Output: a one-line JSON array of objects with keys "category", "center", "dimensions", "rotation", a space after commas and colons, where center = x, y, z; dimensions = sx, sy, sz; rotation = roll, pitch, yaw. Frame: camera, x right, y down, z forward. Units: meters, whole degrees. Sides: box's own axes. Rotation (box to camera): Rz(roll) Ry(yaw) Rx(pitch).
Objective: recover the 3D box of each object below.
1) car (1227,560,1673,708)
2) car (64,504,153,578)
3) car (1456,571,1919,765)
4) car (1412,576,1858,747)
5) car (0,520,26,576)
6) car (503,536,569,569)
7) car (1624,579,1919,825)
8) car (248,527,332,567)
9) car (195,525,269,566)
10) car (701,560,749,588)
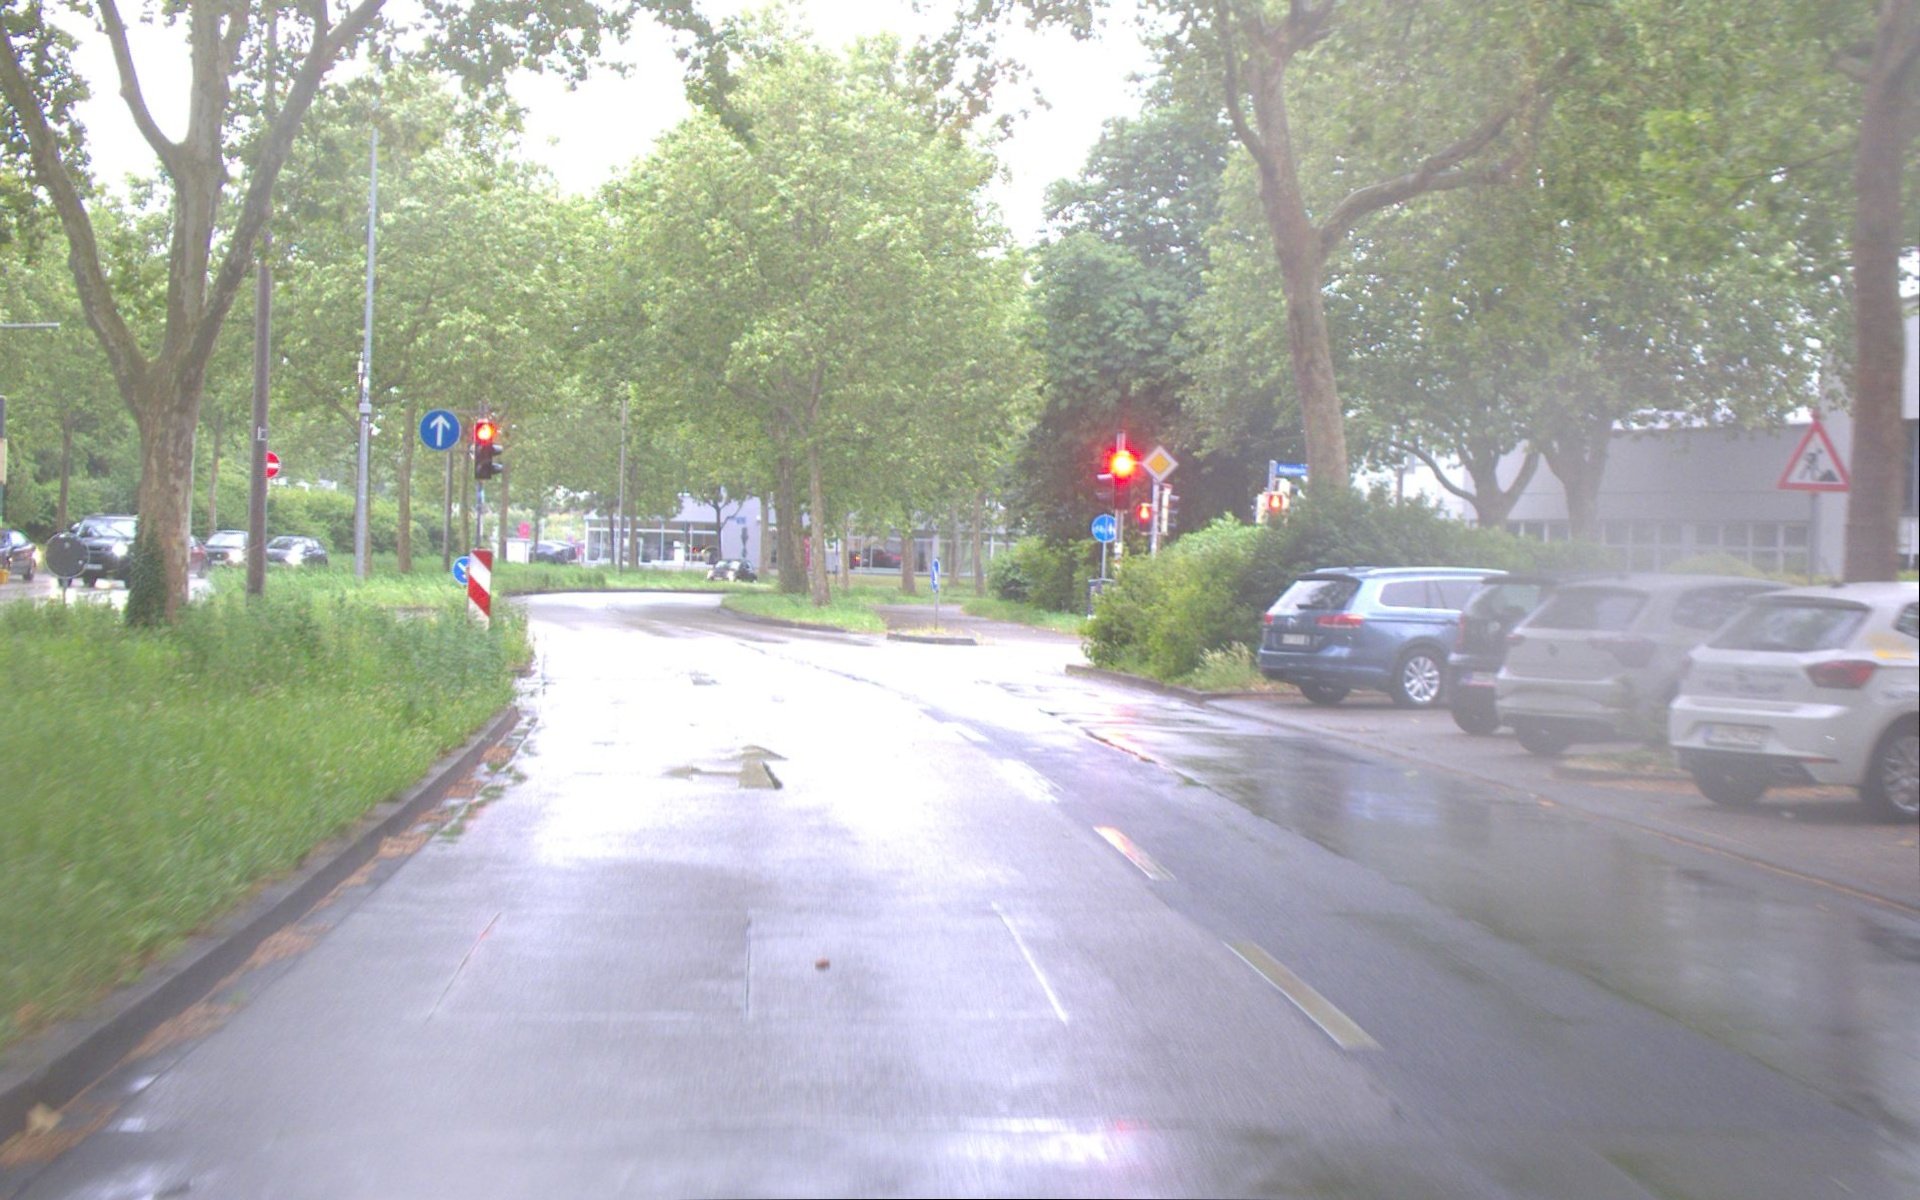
[{"category": "car", "center": [5.200, 0.368, 36.355], "dimensions": [4.481, 1.454, 1.749], "rotation": [1, 1, -29]}, {"category": "car", "center": [-22.205, -1.531, 89.803], "dimensions": [1.743, 1.835, 5.122], "rotation": [1, 1, -9]}, {"category": "car", "center": [5.952, 0.530, 27.345], "dimensions": [3.680, 1.411, 1.776], "rotation": [1, 1, -33]}, {"category": "car", "center": [6.028, 0.538, 30.630], "dimensions": [3.680, 1.411, 1.749], "rotation": [1, 1, -33]}, {"category": "car", "center": [-26.277, -1.420, 92.077], "dimensions": [1.743, 1.471, 4.236], "rotation": [1, 1, -6]}, {"category": "car", "center": [-28.046, -3.158, 227.313], "dimensions": [3.985, 2.007, 2.001], "rotation": [2, -1, -16]}, {"category": "car", "center": [6.235, 0.625, 21.802], "dimensions": [3.680, 1.411, 1.749], "rotation": [1, 1, -29]}, {"category": "car", "center": [-24.430, -1.928, 125.467], "dimensions": [1.588, 1.368, 4.260], "rotation": [2, 1, 9]}, {"category": "car", "center": [-25.071, -1.860, 118.524], "dimensions": [1.587, 1.368, 3.333], "rotation": [2, 1, 5]}, {"category": "car", "center": [-12.085, -1.354, 177.059], "dimensions": [1.588, 1.368, 4.261], "rotation": [2, 1, 8]}]
